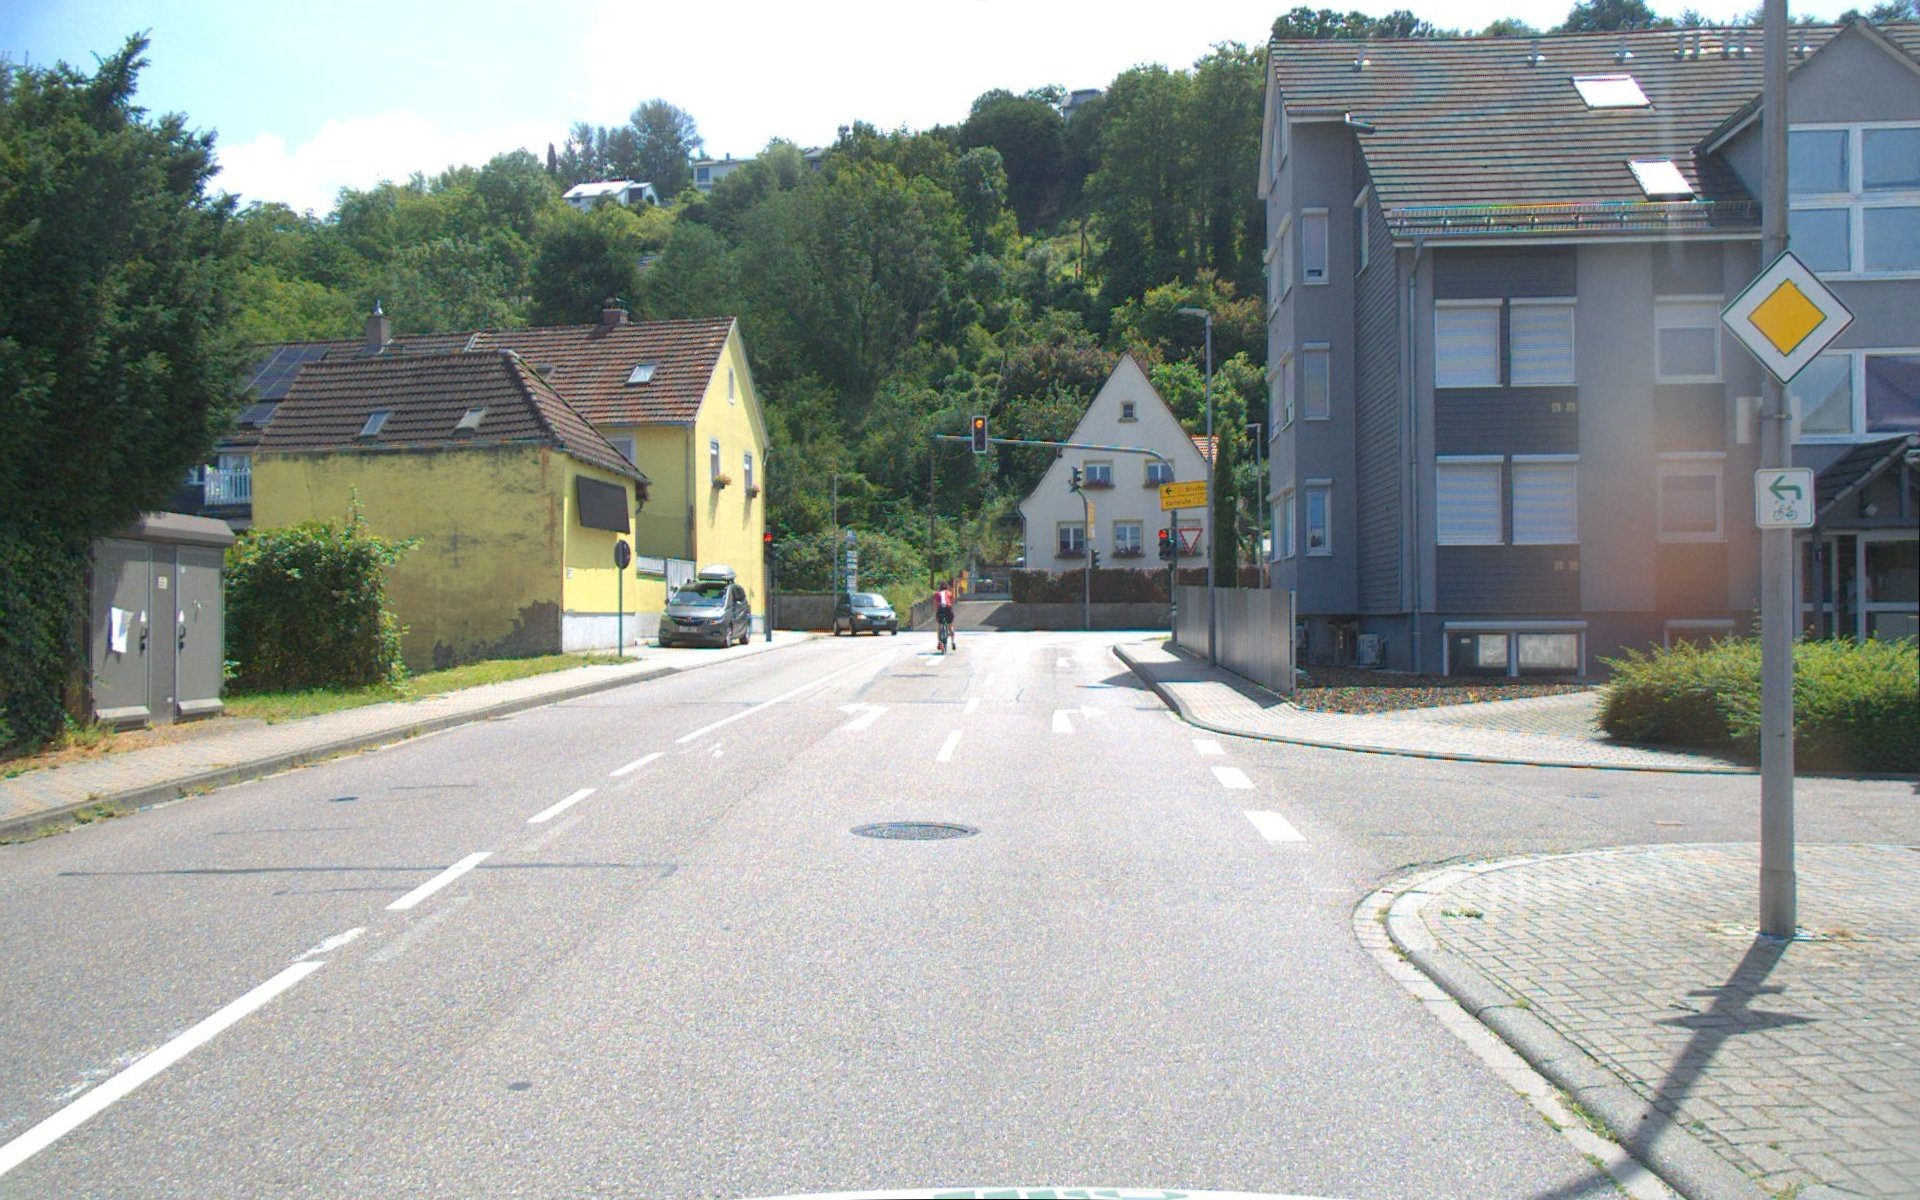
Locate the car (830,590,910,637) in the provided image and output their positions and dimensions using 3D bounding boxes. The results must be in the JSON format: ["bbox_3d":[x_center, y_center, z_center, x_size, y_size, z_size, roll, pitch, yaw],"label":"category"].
[{"bbox_3d":[-3.044,0.450,55.126,1.752,1.458,3.853,-2,0,-17],"label":"car"}]

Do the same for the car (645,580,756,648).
[{"bbox_3d":[-6.746,0.342,43.507,1.952,1.664,4.632,1,0,3],"label":"car"}]

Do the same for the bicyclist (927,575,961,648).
[{"bbox_3d":[-0.379,0.263,38.782,0.745,1.693,0.869,1,0,2],"label":"bicyclist"}]

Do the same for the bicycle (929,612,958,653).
[{"bbox_3d":[-0.380,0.759,38.908,0.617,0.920,1.657,1,0,2],"label":"bicycle"}]
